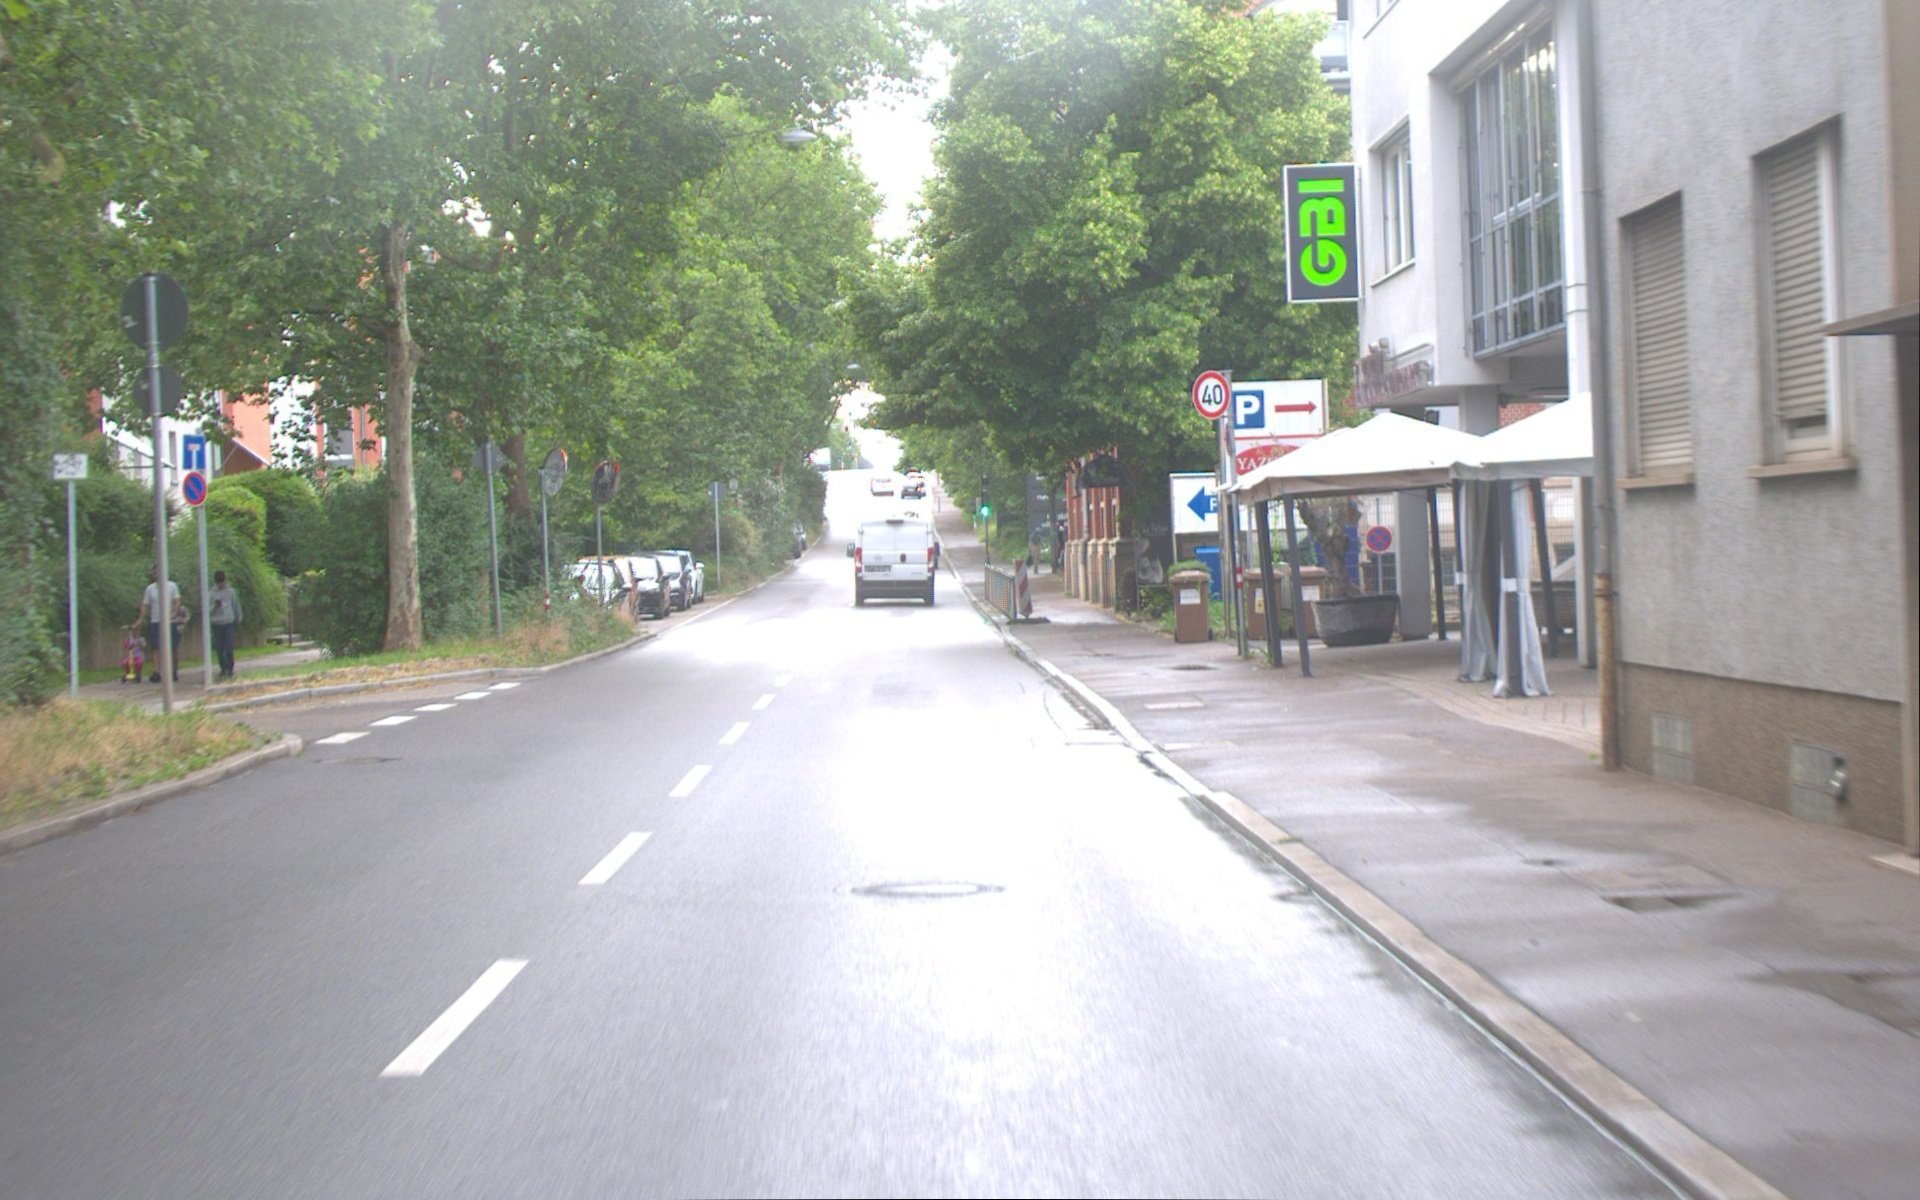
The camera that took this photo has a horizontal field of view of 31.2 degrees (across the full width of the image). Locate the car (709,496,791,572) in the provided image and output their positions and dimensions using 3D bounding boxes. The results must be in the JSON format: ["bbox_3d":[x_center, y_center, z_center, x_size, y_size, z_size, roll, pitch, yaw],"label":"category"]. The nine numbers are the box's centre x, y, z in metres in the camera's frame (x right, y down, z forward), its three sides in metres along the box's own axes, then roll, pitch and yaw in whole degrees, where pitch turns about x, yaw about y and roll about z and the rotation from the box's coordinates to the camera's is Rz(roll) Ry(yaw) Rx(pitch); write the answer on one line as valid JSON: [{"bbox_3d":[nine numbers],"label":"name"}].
[{"bbox_3d":[-6.681,-2.096,109.949,2.215,2.286,4.609,0,-1,1],"label":"car"}]

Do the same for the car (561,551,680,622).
[{"bbox_3d":[-7.932,-0.303,80.713,2.215,1.587,4.609,0,-1,1],"label":"car"}]

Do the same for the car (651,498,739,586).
[{"bbox_3d":[-8.044,-1.750,104.861,2.215,2.525,4.609,0,-1,1],"label":"car"}]

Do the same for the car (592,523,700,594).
[{"bbox_3d":[-7.887,-1.035,86.788,2.215,1.723,4.609,0,0,1],"label":"car"}]

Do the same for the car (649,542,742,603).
[{"bbox_3d":[-7.627,-0.778,99.573,2.215,1.685,4.609,0,-1,1],"label":"car"}]

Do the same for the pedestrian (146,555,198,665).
[{"bbox_3d":[-11.510,0.149,50.200,0.638,1.606,0.623,0,-1,-3],"label":"pedestrian"}]

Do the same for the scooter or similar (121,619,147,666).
[{"bbox_3d":[-12.043,0.618,50.147,0.307,0.678,0.388,0,-1,-3],"label":"scooter or similar"}]

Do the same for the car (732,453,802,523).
[{"bbox_3d":[-7.066,-4.077,126.147,2.215,2.286,4.609,0,-2,1],"label":"car"}]

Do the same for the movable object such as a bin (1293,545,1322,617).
[{"bbox_3d":[5.225,-0.285,51.691,0.356,1.063,0.358,0,-1,-7],"label":"movable object such as a bin"}]

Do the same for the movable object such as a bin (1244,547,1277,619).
[{"bbox_3d":[4.516,-0.257,51.697,0.399,1.063,0.358,-1,-1,-7],"label":"movable object such as a bin"}]

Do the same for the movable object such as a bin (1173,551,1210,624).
[{"bbox_3d":[3.478,-0.185,51.692,0.399,1.063,0.358,-5,0,-7],"label":"movable object such as a bin"}]

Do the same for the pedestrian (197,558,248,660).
[{"bbox_3d":[-11.333,0.138,52.817,0.681,1.565,0.623,0,0,-3],"label":"pedestrian"}]

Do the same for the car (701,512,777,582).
[{"bbox_3d":[-7.648,-1.822,119.370,2.215,2.286,4.609,0,-1,1],"label":"car"}]

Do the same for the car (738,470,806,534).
[{"bbox_3d":[-7.293,-3.787,133.599,2.216,2.286,4.609,0,-1,2],"label":"car"}]

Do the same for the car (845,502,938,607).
[{"bbox_3d":[-1.754,-1.148,88.978,2.282,2.544,4.000,-1,-1,-1],"label":"car"}]
